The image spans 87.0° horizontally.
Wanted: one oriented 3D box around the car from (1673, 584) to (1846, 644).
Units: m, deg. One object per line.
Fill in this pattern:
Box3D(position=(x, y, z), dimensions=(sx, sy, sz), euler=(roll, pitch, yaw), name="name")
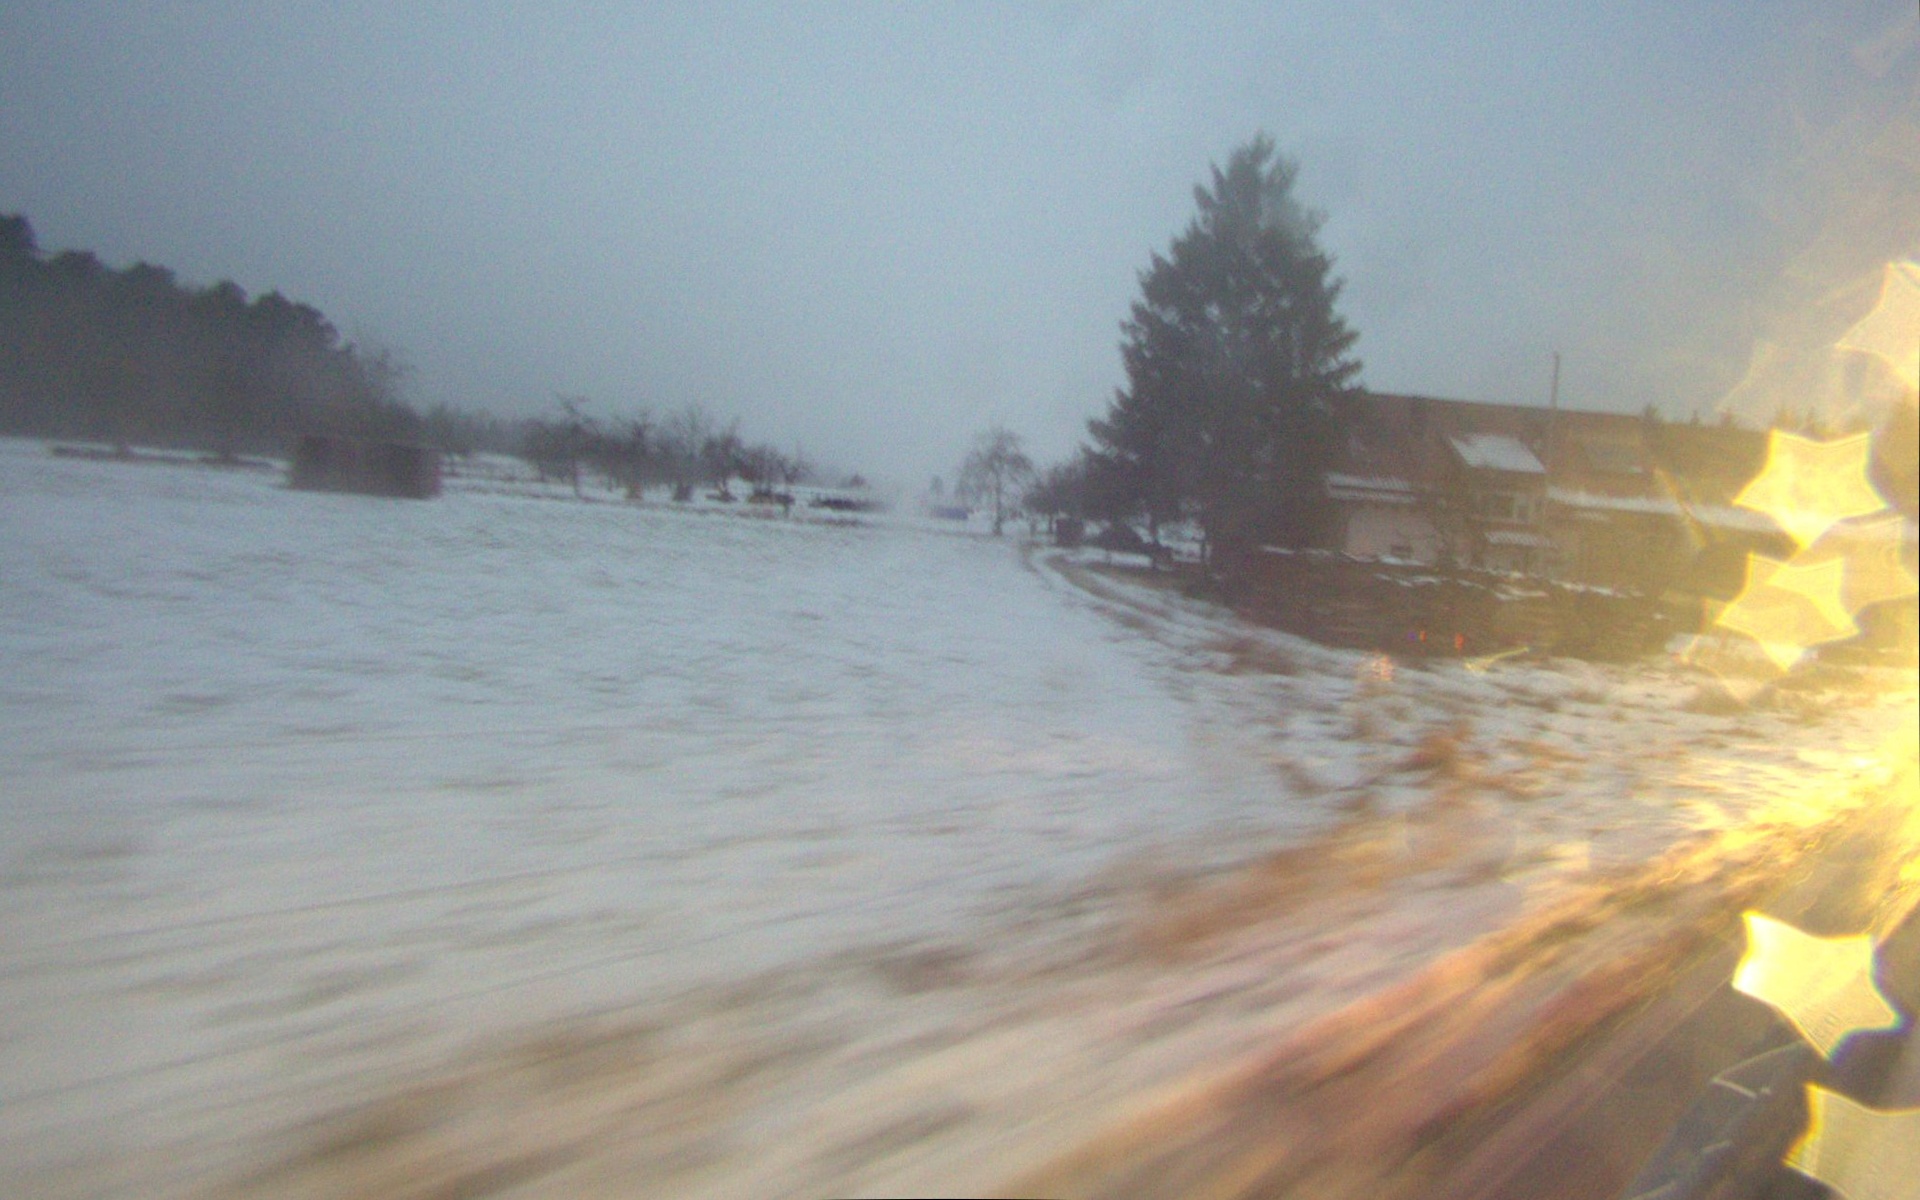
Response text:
Box3D(position=(28.499, 0.462, 36.213), dimensions=(1.825, 1.677, 4.417), euler=(3, 3, -32), name="car")
